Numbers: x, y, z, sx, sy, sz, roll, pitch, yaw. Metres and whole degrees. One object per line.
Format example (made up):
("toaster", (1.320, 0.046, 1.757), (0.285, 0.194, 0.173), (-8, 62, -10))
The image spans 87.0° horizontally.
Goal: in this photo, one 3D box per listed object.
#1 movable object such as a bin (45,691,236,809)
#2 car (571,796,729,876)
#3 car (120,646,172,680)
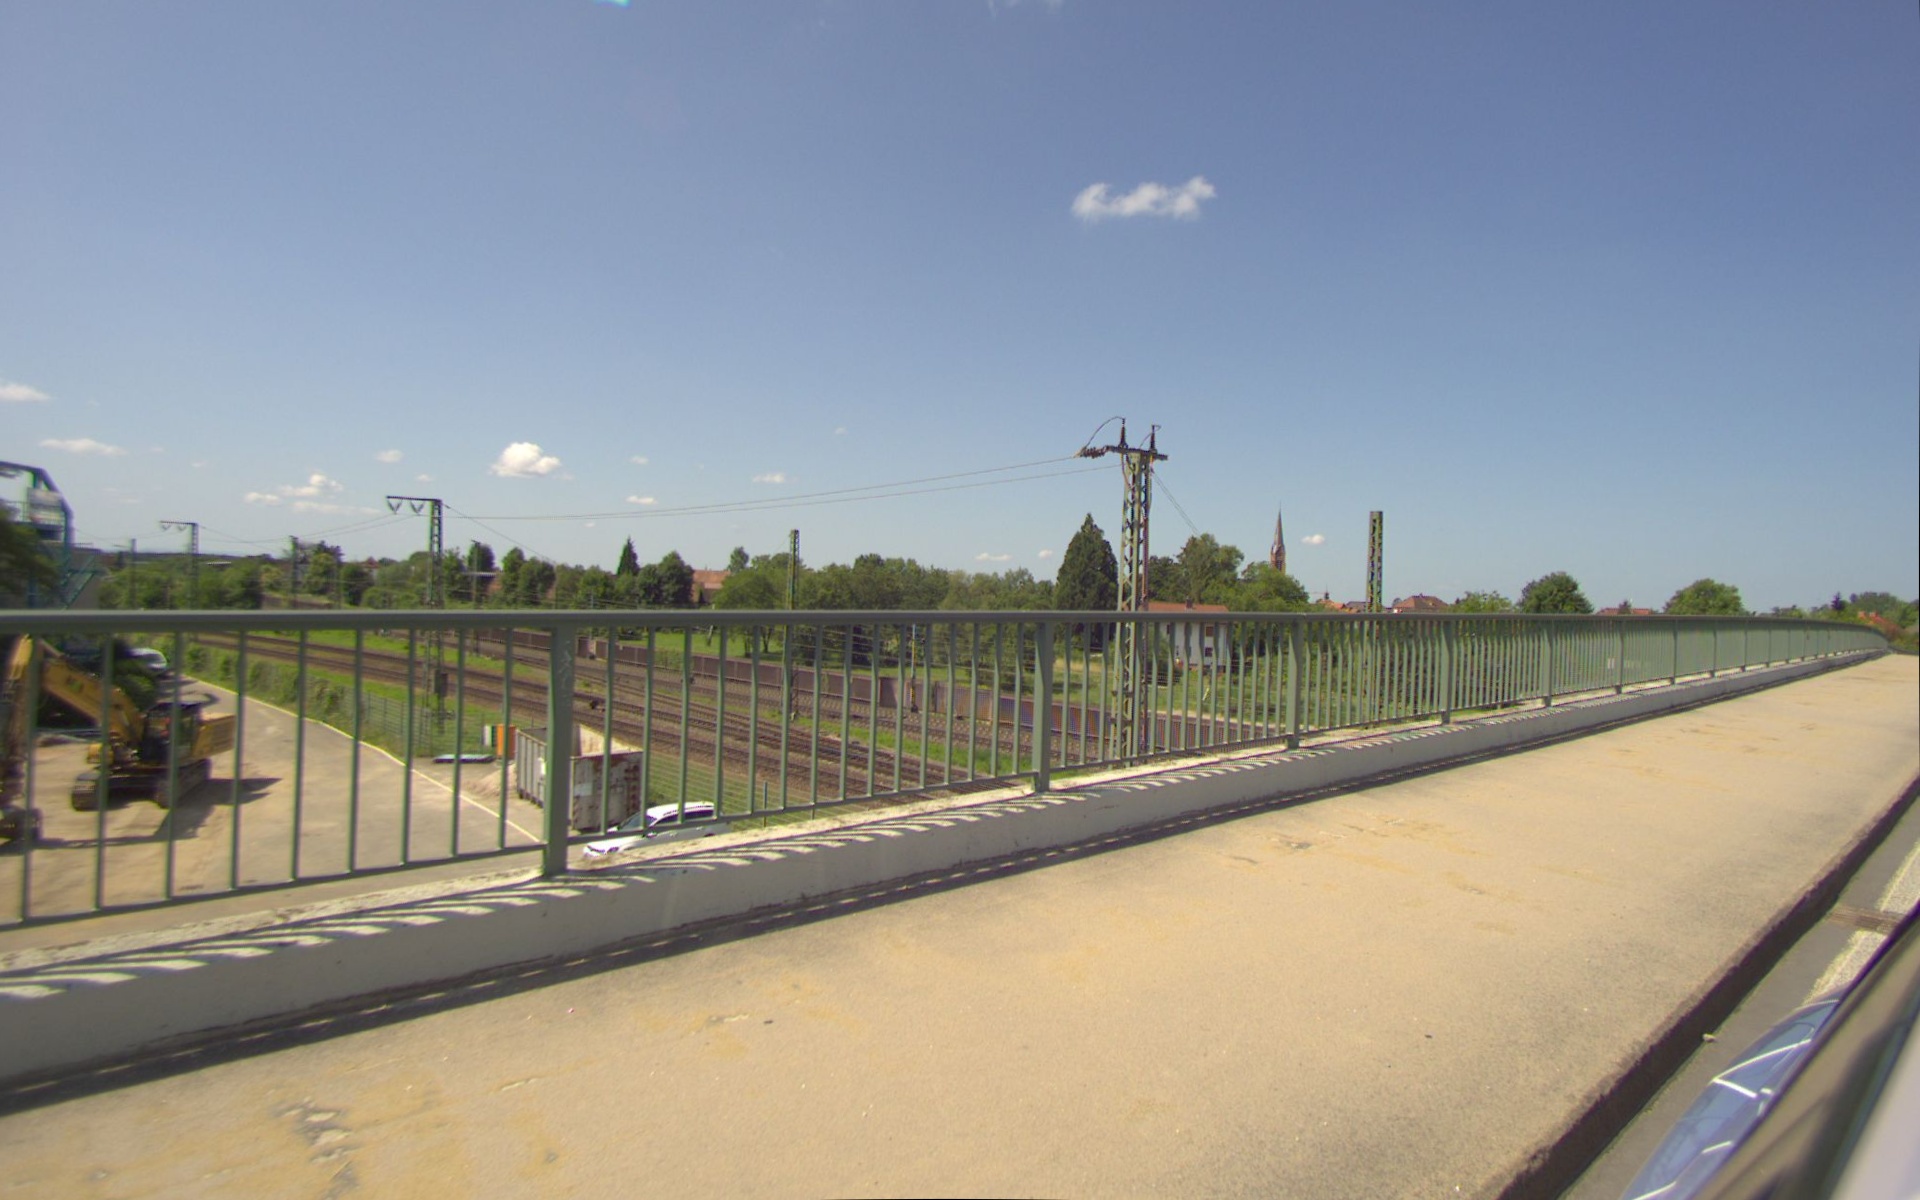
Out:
("movable object such as a bin", (-29.674, 5.340, 37.055), (3.179, 3.332, 6.236), (3, 0, -17))
("car", (-9.412, 7.123, 30.891), (4.172, 1.616, 1.995), (2, -4, -43))
("car", (-58.363, 4.464, 72.539), (3.979, 2.038, 1.973), (3, 1, 38))
